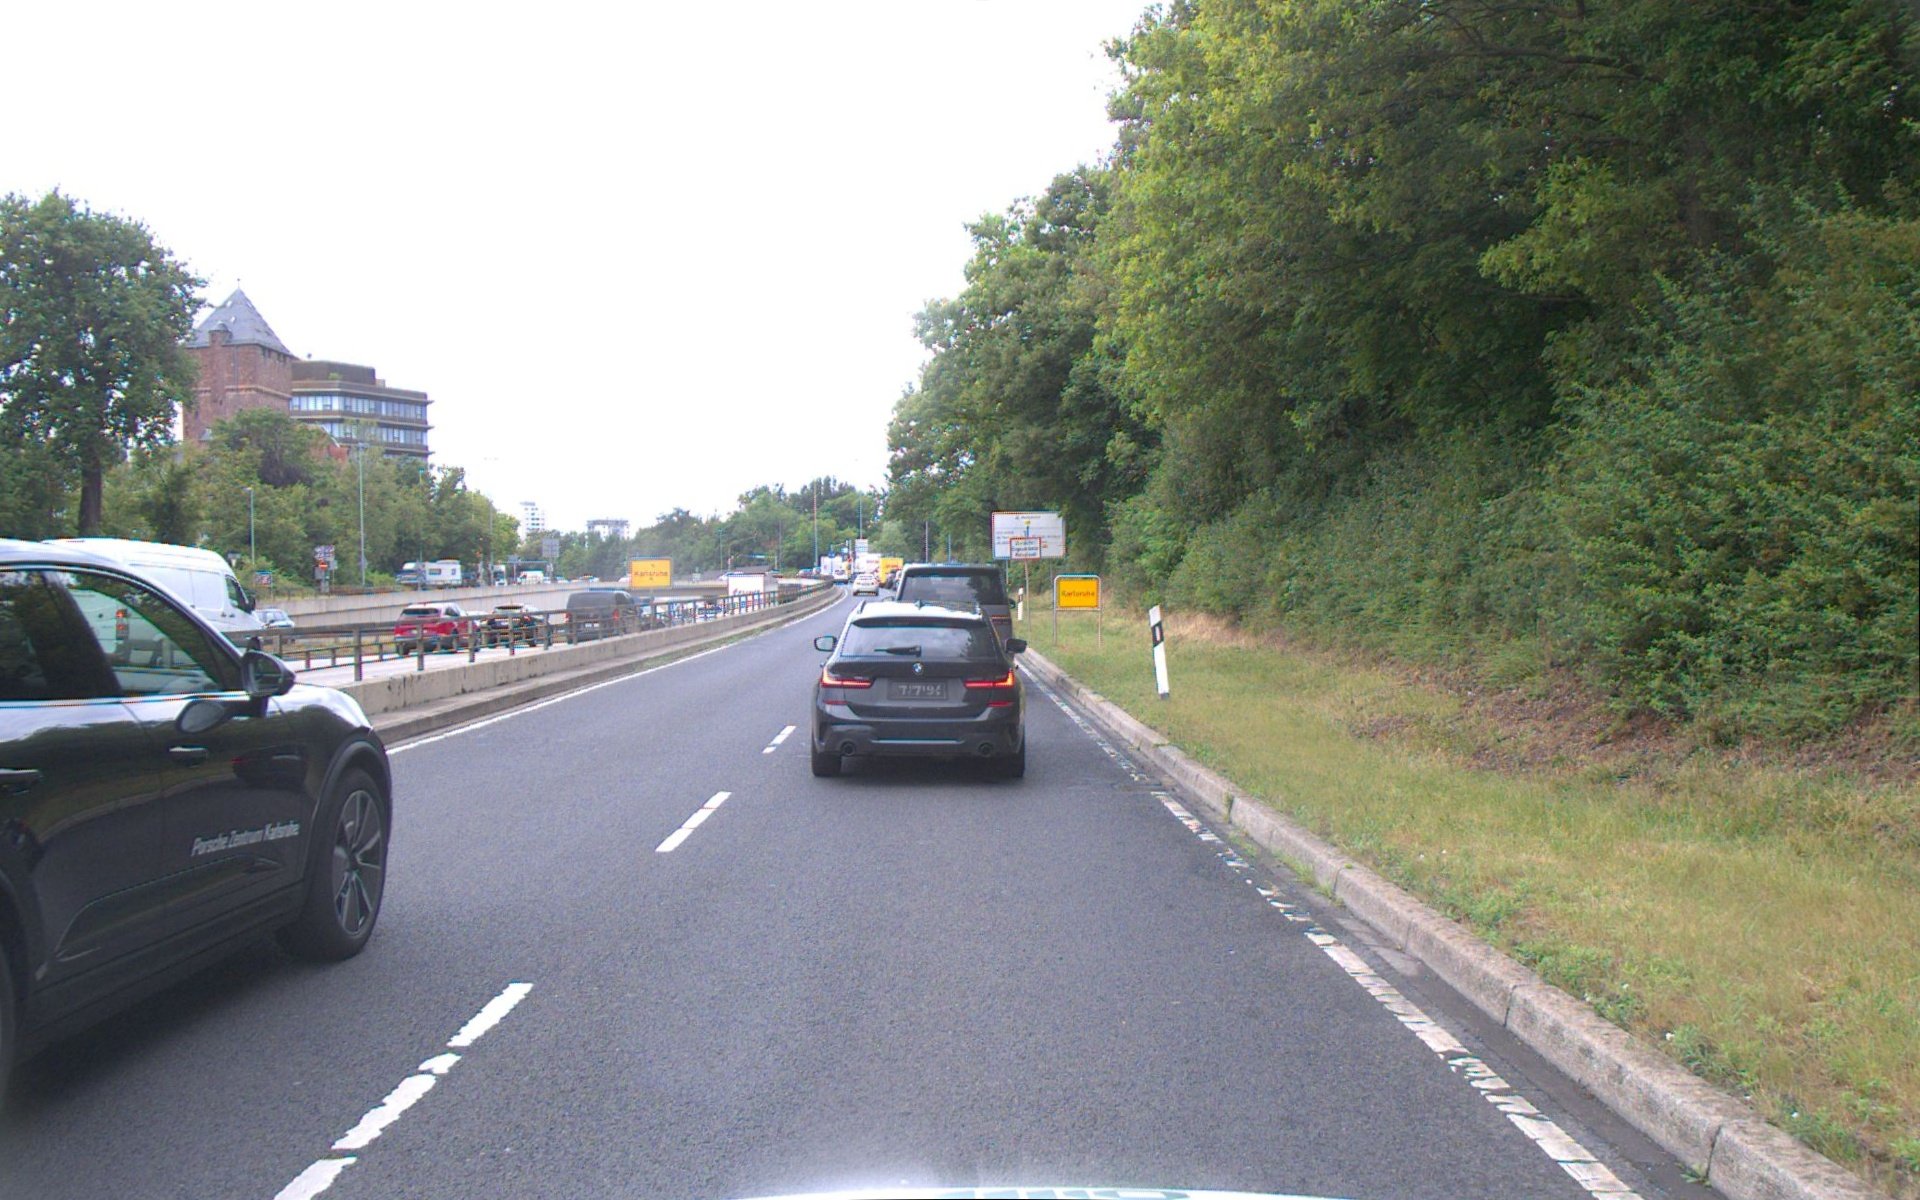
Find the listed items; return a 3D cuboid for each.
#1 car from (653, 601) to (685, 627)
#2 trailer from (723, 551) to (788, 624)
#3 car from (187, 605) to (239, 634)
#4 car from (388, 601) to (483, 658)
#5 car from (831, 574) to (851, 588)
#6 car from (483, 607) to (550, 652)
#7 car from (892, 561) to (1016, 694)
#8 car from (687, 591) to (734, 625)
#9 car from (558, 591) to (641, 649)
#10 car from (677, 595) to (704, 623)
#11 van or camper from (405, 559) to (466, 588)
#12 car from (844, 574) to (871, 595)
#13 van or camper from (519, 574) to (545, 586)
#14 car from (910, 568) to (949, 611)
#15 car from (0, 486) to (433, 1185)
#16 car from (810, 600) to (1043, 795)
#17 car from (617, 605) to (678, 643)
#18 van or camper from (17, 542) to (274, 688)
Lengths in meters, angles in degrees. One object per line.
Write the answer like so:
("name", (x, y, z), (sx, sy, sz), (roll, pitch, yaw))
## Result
("car", (-19.685, 0.944, 112.071), (1.654, 1.660, 3.733), (1, 0, -2))
("trailer", (-14.347, -0.833, 117.144), (3.069, 4.807, 14.554), (1, 0, -1))
("car", (-38.029, 0.994, 84.298), (1.307, 1.399, 3.171), (-1, 0, -2))
("car", (-16.988, 0.920, 53.797), (1.852, 1.711, 4.304), (-1, 0, -2))
("car", (-13.659, -2.184, 189.247), (1.895, 1.624, 3.868), (-1, 0, -9))
("car", (-17.411, 1.140, 65.069), (1.653, 1.636, 4.006), (1, 0, -2))
("car", (-0.116, 0.387, 25.640), (1.759, 1.904, 3.999), (0, 0, -1))
("car", (-13.429, 0.407, 89.327), (1.906, 1.721, 4.506), (-1, 0, -1))
("car", (-12.196, 0.627, 56.261), (1.953, 1.883, 4.809), (0, 0, -3))
("car", (-20.141, 0.649, 123.705), (1.414, 2.080, 3.680), (-1, 0, 0))
("van or camper", (-52.772, -2.657, 166.351), (1.889, 2.683, 5.623), (1, 0, 44))
("car", (-7.401, -1.106, 119.721), (1.821, 1.489, 4.882), (0, 0, -2))
("van or camper", (-61.171, -2.826, 236.402), (3.504, 1.619, 1.747), (1, 0, -11))
("car", (-1.155, -0.382, 62.424), (1.423, 1.567, 3.224), (-1, 0, -1))
("car", (-3.279, 0.579, 5.066), (1.862, 1.692, 4.751), (-1, 0, -1))
("car", (-0.353, 0.754, 14.849), (1.809, 1.492, 3.998), (0, 0, -3))
("car", (-12.958, 0.957, 68.878), (1.678, 1.482, 4.666), (0, 0, 0))
("van or camper", (-16.436, 0.263, 33.930), (2.008, 2.667, 6.954), (-1, 0, -2))
